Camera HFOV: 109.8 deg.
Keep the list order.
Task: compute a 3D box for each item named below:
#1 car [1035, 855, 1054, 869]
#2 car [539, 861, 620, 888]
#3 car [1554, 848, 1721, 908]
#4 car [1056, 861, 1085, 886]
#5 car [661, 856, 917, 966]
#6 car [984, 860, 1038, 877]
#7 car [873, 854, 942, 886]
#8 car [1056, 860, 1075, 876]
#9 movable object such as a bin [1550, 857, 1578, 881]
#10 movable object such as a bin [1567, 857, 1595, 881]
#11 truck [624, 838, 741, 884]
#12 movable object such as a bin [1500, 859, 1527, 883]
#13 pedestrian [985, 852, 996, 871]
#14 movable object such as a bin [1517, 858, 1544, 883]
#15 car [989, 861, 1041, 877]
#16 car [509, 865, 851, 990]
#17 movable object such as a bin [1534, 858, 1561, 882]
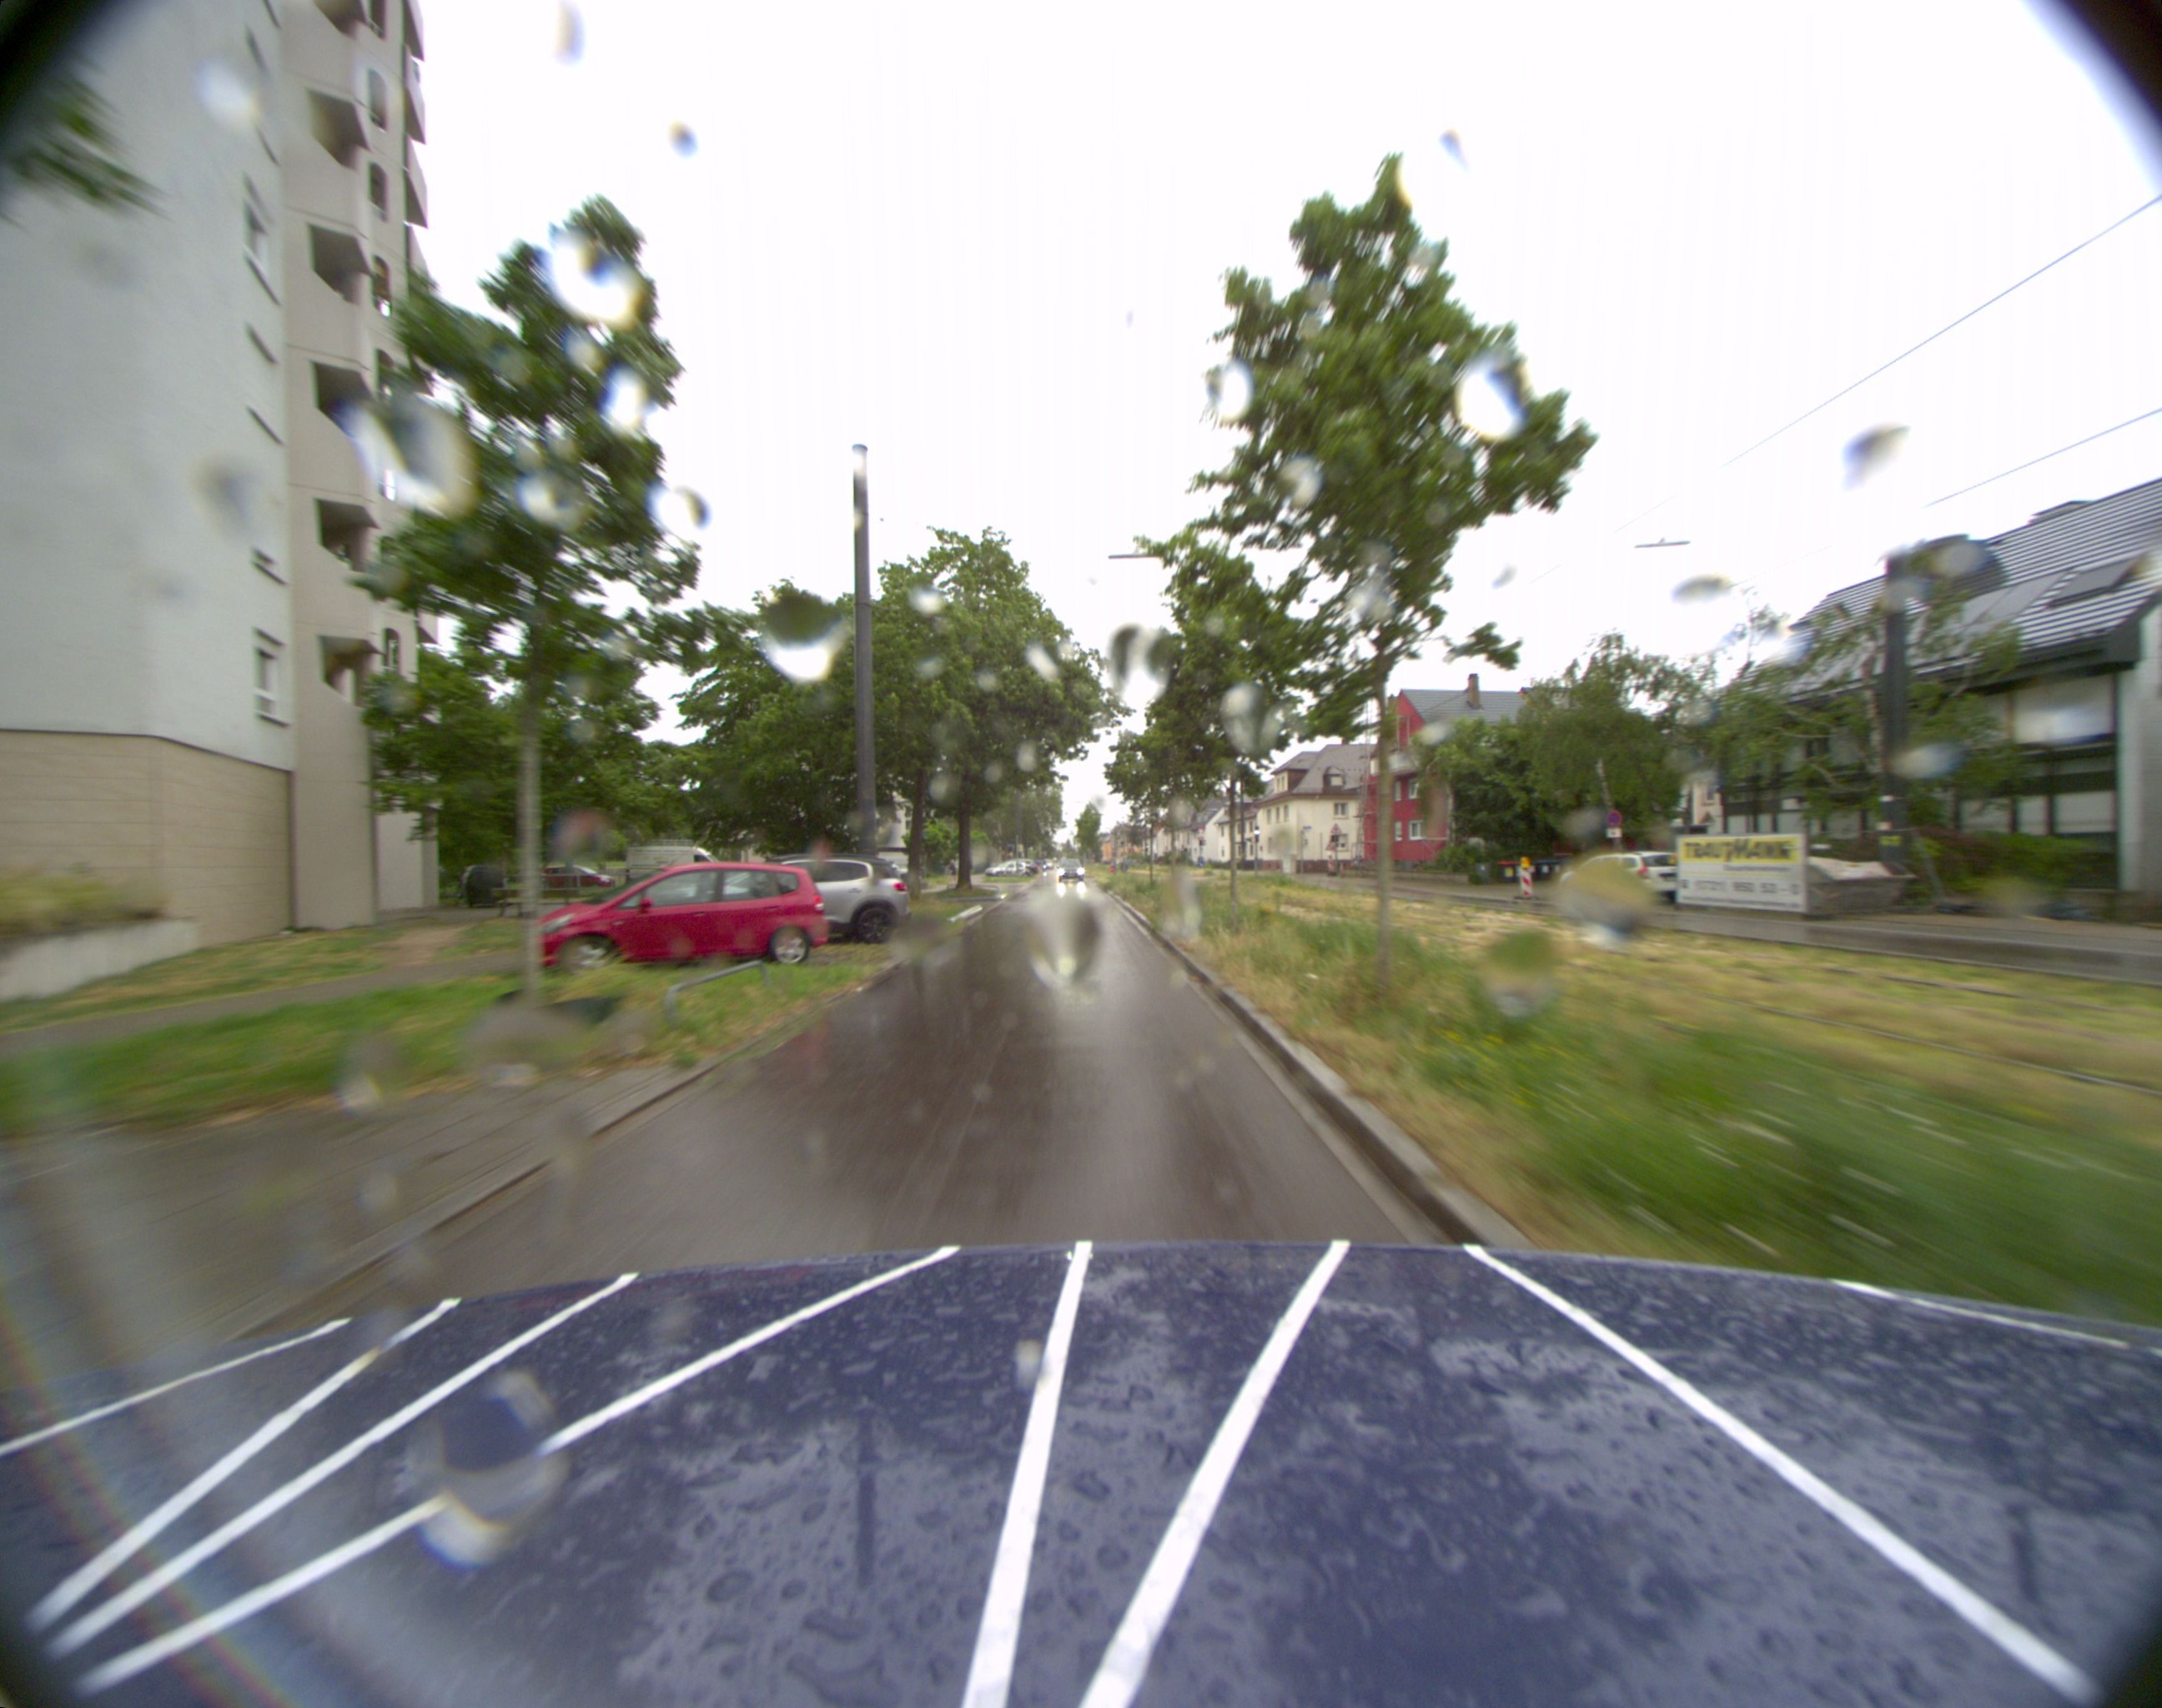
[{"bbox_3d":[-4.649,1.006,96.963,1.998,1.696,4.000,-2,1,2],"label":"car"},{"bbox_3d":[-28.059,1.122,42.582,3.422,1.275,1.598,-2,1,-17],"label":"car"},{"bbox_3d":[17.110,0.669,23.689,1.999,1.618,4.250,-2,1,-2],"label":"car"},{"bbox_3d":[-0.734,1.359,55.556,1.998,1.611,3.999,-2,1,1],"label":"car"},{"bbox_3d":[-5.286,0.917,13.969,4.054,1.676,1.720,-2,1,-35],"label":"car"},{"bbox_3d":[-6.377,1.311,69.407,4.485,1.320,1.995,-2,1,-29],"label":"car"},{"bbox_3d":[-10.803,0.959,47.241,4.002,1.742,1.997,-2,1,-16],"label":"car"},{"bbox_3d":[-1.880,1.688,92.741,1.998,1.762,4.000,-2,1,2],"label":"car"},{"bbox_3d":[23.765,0.746,37.378,0.812,1.141,0.821,-2,1,0],"label":"movable object such as a bin"},{"bbox_3d":[24.607,0.717,37.383,0.812,1.141,0.821,-2,1,0],"label":"movable object such as a bin"},{"bbox_3d":[-23.132,0.354,44.412,5.680,2.424,2.121,-2,1,-17],"label":"truck"},{"bbox_3d":[21.262,0.832,37.380,0.812,1.141,0.821,-2,1,0],"label":"movable object such as a bin"},{"bbox_3d":[-10.029,0.802,84.462,1.014,2.002,1.158,-2,1,-2],"label":"pedestrian"},{"bbox_3d":[22.087,0.804,37.360,0.812,1.141,0.821,-2,1,0],"label":"movable object such as a bin"},{"bbox_3d":[-6.367,1.400,73.101,4.485,1.320,1.995,-2,1,-28],"label":"car"},{"bbox_3d":[-5.594,0.932,10.890,4.055,1.479,1.720,2,-1,-35],"label":"car"},{"bbox_3d":[22.920,0.775,37.363,0.812,1.141,0.821,-2,1,0],"label":"movable object such as a bin"}]
